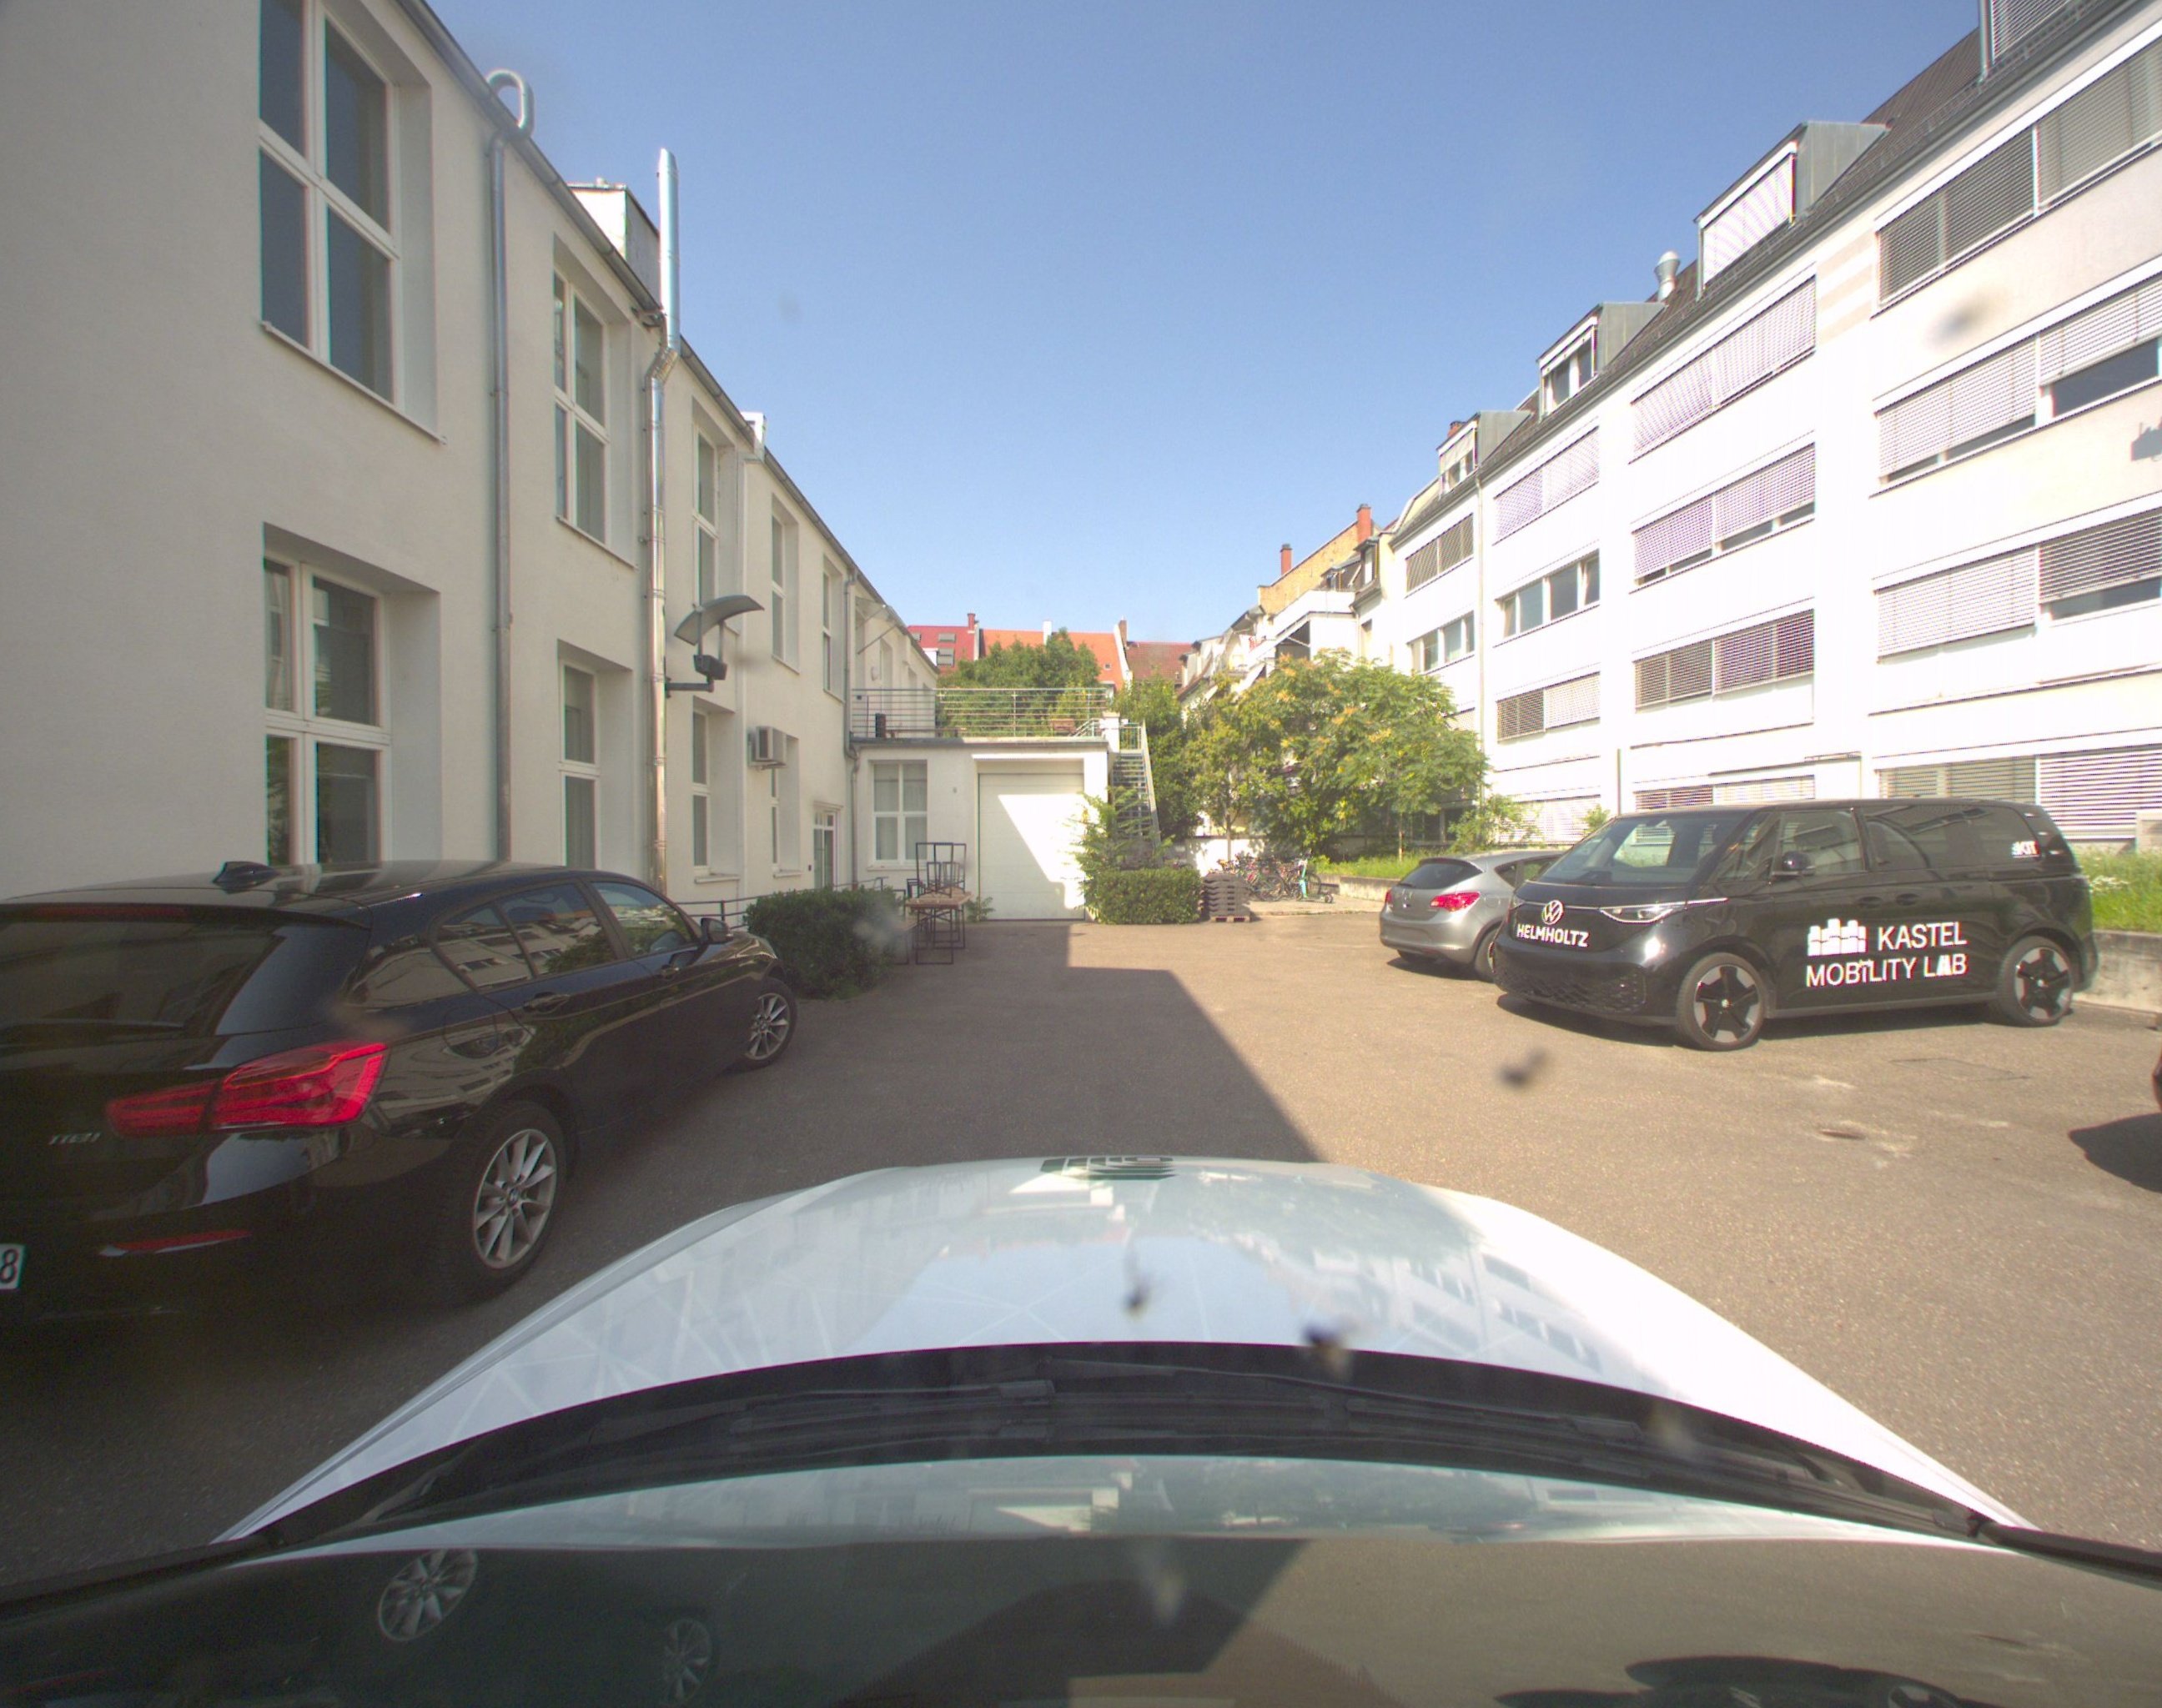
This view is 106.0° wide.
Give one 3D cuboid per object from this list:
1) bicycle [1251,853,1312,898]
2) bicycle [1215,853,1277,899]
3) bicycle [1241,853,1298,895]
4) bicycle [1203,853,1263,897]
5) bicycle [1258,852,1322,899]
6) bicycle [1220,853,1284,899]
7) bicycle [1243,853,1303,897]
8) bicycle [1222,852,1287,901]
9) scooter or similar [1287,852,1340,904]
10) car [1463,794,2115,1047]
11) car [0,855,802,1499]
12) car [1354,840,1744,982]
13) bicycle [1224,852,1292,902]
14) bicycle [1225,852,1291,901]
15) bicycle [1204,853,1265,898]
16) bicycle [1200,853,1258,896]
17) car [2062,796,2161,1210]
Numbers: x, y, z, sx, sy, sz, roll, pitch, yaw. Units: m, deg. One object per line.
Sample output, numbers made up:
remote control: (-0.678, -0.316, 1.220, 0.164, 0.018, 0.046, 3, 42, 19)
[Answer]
bicycle: (5.523, 0.586, 22.493, 1.612, 1.214, 0.425, -1, 0, 12)
bicycle: (4.470, 0.586, 22.078, 1.612, 1.214, 0.328, -1, 0, 12)
bicycle: (5.559, 0.589, 24.096, 1.612, 1.214, 0.425, -1, 0, 11)
bicycle: (4.359, 0.589, 23.387, 1.621, 1.214, 0.423, -1, 0, -6)
bicycle: (5.551, 0.584, 21.633, 1.611, 1.214, 0.328, -1, 0, 14)
bicycle: (4.550, 0.585, 21.715, 1.613, 1.214, 0.328, -1, 0, 9)
bicycle: (5.423, 0.588, 23.068, 1.612, 1.214, 0.425, -1, 0, 11)
bicycle: (4.517, 0.584, 21.264, 1.617, 1.214, 0.327, -1, 0, 0)
scooter or similar: (5.812, 0.588, 20.427, 0.381, 1.261, 1.335, -1, 0, -32)
car: (5.957, 0.449, 7.101, 4.500, 1.794, 1.877, -1, -1, -10)
car: (-2.766, 0.737, 3.800, 1.684, 1.459, 3.920, 0, 0, -2)
car: (5.609, 0.614, 9.979, 3.932, 1.482, 1.768, -1, -1, -10)
bicycle: (4.483, 0.583, 20.648, 1.617, 1.214, 0.327, -1, 0, 0)
bicycle: (4.547, 0.584, 20.971, 1.617, 1.214, 0.327, -1, 0, 0)
bicycle: (4.278, 0.588, 22.752, 1.618, 1.214, 0.424, -1, 0, -2)
bicycle: (4.350, 0.590, 23.990, 1.621, 1.214, 0.423, -1, 0, -6)
car: (6.499, 0.608, 2.908, 4.108, 1.691, 1.769, 0, 0, -4)
